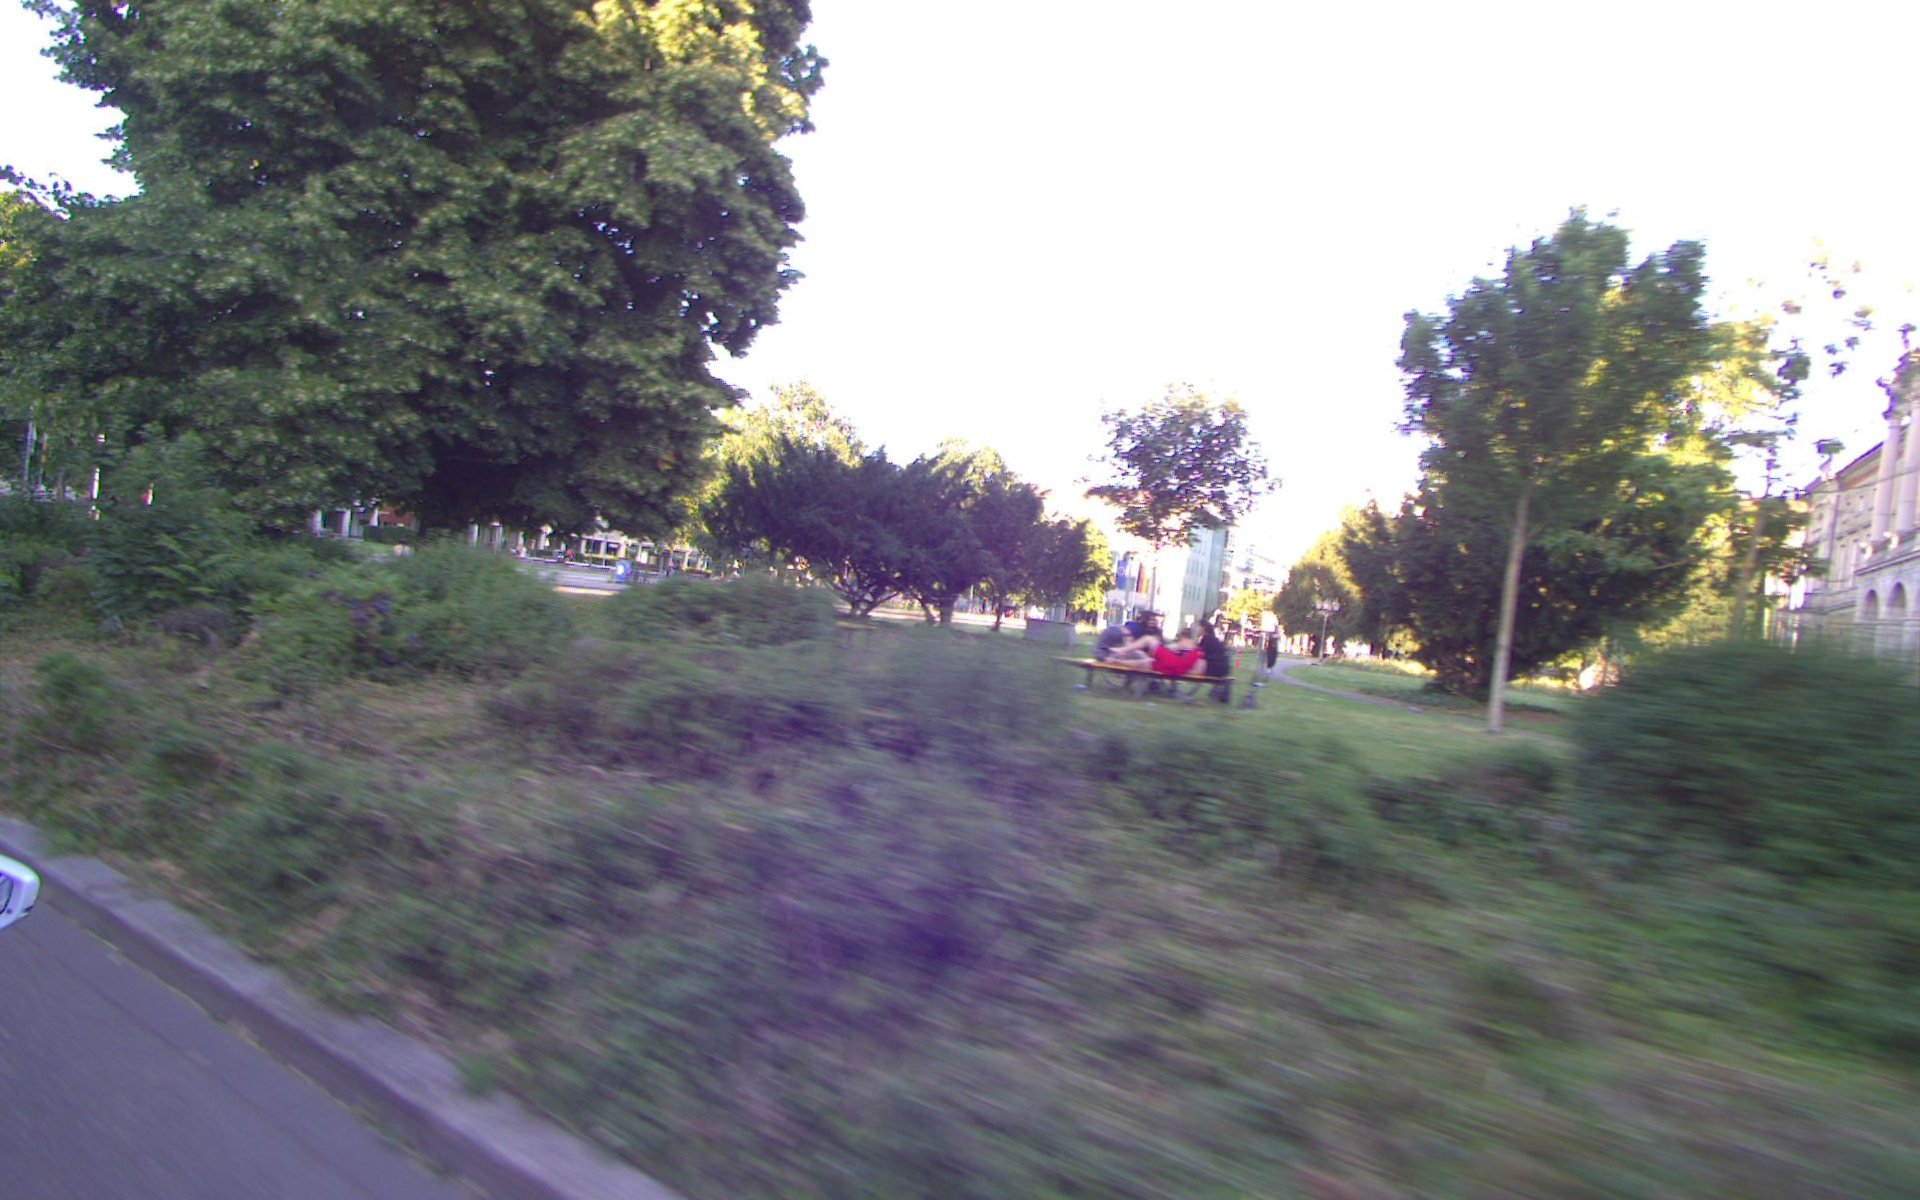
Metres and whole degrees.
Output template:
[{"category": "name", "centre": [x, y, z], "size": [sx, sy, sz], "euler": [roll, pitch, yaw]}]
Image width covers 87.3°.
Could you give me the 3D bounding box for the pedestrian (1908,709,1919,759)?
[{"category": "pedestrian", "centre": [31.829, 4.435, 32.425], "size": [1.541, 1.576, 0.800], "euler": [7, 2, 32]}]

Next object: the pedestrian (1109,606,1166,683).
[{"category": "pedestrian", "centre": [3.454, 0.853, 19.506], "size": [0.868, 1.364, 0.919], "euler": [7, 1, 16]}]

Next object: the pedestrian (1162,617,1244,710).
[{"category": "pedestrian", "centre": [3.464, 0.894, 14.367], "size": [0.657, 1.207, 0.789], "euler": [5, 1, -31]}]

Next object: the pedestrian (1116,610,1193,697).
[{"category": "pedestrian", "centre": [2.967, 0.816, 15.327], "size": [0.777, 1.207, 0.807], "euler": [7, 1, 35]}]

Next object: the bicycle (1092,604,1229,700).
[{"category": "bicycle", "centre": [3.283, 0.834, 16.515], "size": [1.983, 1.316, 0.620], "euler": [7, 1, 27]}]

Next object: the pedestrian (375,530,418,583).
[{"category": "pedestrian", "centre": [-15.594, -1.196, 27.849], "size": [0.804, 1.359, 0.597], "euler": [7, 1, 26]}]

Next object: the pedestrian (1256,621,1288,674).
[{"category": "pedestrian", "centre": [10.962, 1.664, 35.343], "size": [0.745, 1.770, 0.772], "euler": [7, 1, 28]}]

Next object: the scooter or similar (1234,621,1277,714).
[{"category": "scooter or similar", "centre": [4.305, 0.959, 14.620], "size": [0.410, 1.261, 1.220], "euler": [7, 1, 19]}]

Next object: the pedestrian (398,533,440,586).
[{"category": "pedestrian", "centre": [-15.293, -1.140, 28.434], "size": [0.804, 1.359, 0.597], "euler": [7, 1, 26]}]

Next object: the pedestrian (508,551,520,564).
[{"category": "pedestrian", "centre": [-35.132, -3.371, 79.261], "size": [0.609, 0.936, 0.512], "euler": [6, 1, 6]}]

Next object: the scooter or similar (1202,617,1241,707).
[{"category": "scooter or similar", "centre": [3.918, 0.908, 15.059], "size": [0.410, 1.261, 1.220], "euler": [7, 1, 15]}]

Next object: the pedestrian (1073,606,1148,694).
[{"category": "pedestrian", "centre": [2.227, 0.739, 14.895], "size": [0.735, 1.207, 0.722], "euler": [7, 1, 35]}]

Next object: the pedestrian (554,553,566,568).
[{"category": "pedestrian", "centre": [-31.426, -3.131, 79.045], "size": [0.610, 1.091, 0.511], "euler": [6, 1, -8]}]

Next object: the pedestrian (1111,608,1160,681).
[{"category": "pedestrian", "centre": [3.563, 0.899, 20.385], "size": [0.773, 1.364, 0.761], "euler": [7, 1, 15]}]

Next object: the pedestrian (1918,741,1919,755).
[{"category": "pedestrian", "centre": [31.198, 4.317, 31.540], "size": [1.428, 1.415, 0.694], "euler": [7, 2, 32]}]

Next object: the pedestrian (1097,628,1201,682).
[{"category": "pedestrian", "centre": [2.645, 0.754, 14.094], "size": [1.351, 0.557, 0.541], "euler": [6, 4, 12]}]
